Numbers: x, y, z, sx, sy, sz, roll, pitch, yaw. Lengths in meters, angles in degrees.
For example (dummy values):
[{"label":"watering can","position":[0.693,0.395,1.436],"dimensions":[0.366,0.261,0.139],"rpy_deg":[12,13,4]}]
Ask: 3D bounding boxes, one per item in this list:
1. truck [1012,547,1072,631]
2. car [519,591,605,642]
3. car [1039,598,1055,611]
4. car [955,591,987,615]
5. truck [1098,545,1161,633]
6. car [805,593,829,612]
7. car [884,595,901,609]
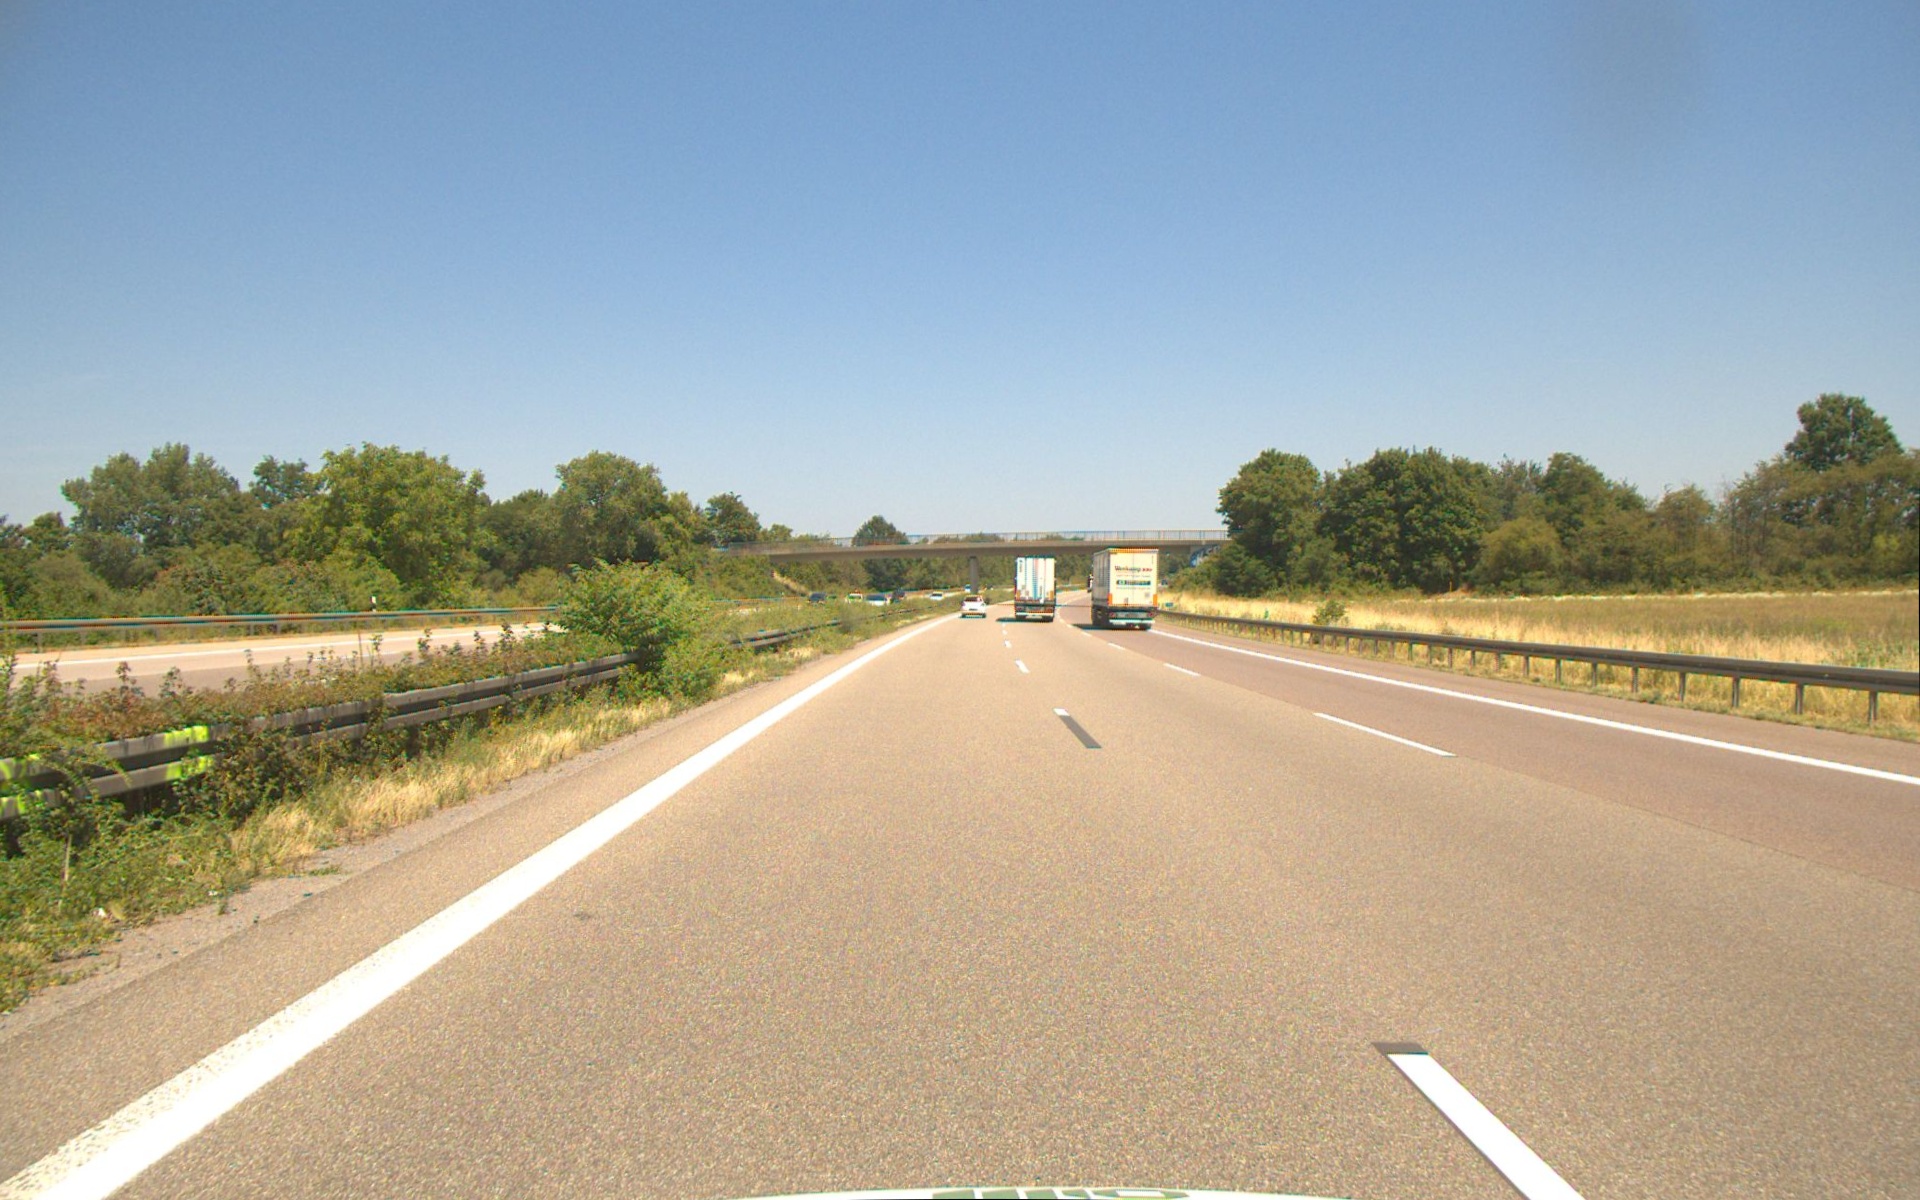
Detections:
[{"label":"truck","position":[5.234,-0.807,108.891],"dimensions":[3.590,5.106,16.022],"rpy_deg":[1,1,2]},{"label":"car","position":[-13.867,0.576,57.873],"dimensions":[1.953,1.718,4.502],"rpy_deg":[0,0,-1]},{"label":"car","position":[11.091,0.609,210.729],"dimensions":[1.789,1.574,4.322],"rpy_deg":[1,0,6]},{"label":"car","position":[0.758,0.191,115.702],"dimensions":[1.789,1.574,4.322],"rpy_deg":[1,0,6]},{"label":"truck","position":[9.156,-0.667,90.655],"dimensions":[3.114,4.379,16.028],"rpy_deg":[1,1,5]},{"label":"car","position":[-13.151,0.245,152.426],"dimensions":[1.745,1.690,4.658],"rpy_deg":[0,0,1]},{"label":"car","position":[-7.719,0.211,190.419],"dimensions":[1.610,1.588,4.067],"rpy_deg":[0,0,2]}]
